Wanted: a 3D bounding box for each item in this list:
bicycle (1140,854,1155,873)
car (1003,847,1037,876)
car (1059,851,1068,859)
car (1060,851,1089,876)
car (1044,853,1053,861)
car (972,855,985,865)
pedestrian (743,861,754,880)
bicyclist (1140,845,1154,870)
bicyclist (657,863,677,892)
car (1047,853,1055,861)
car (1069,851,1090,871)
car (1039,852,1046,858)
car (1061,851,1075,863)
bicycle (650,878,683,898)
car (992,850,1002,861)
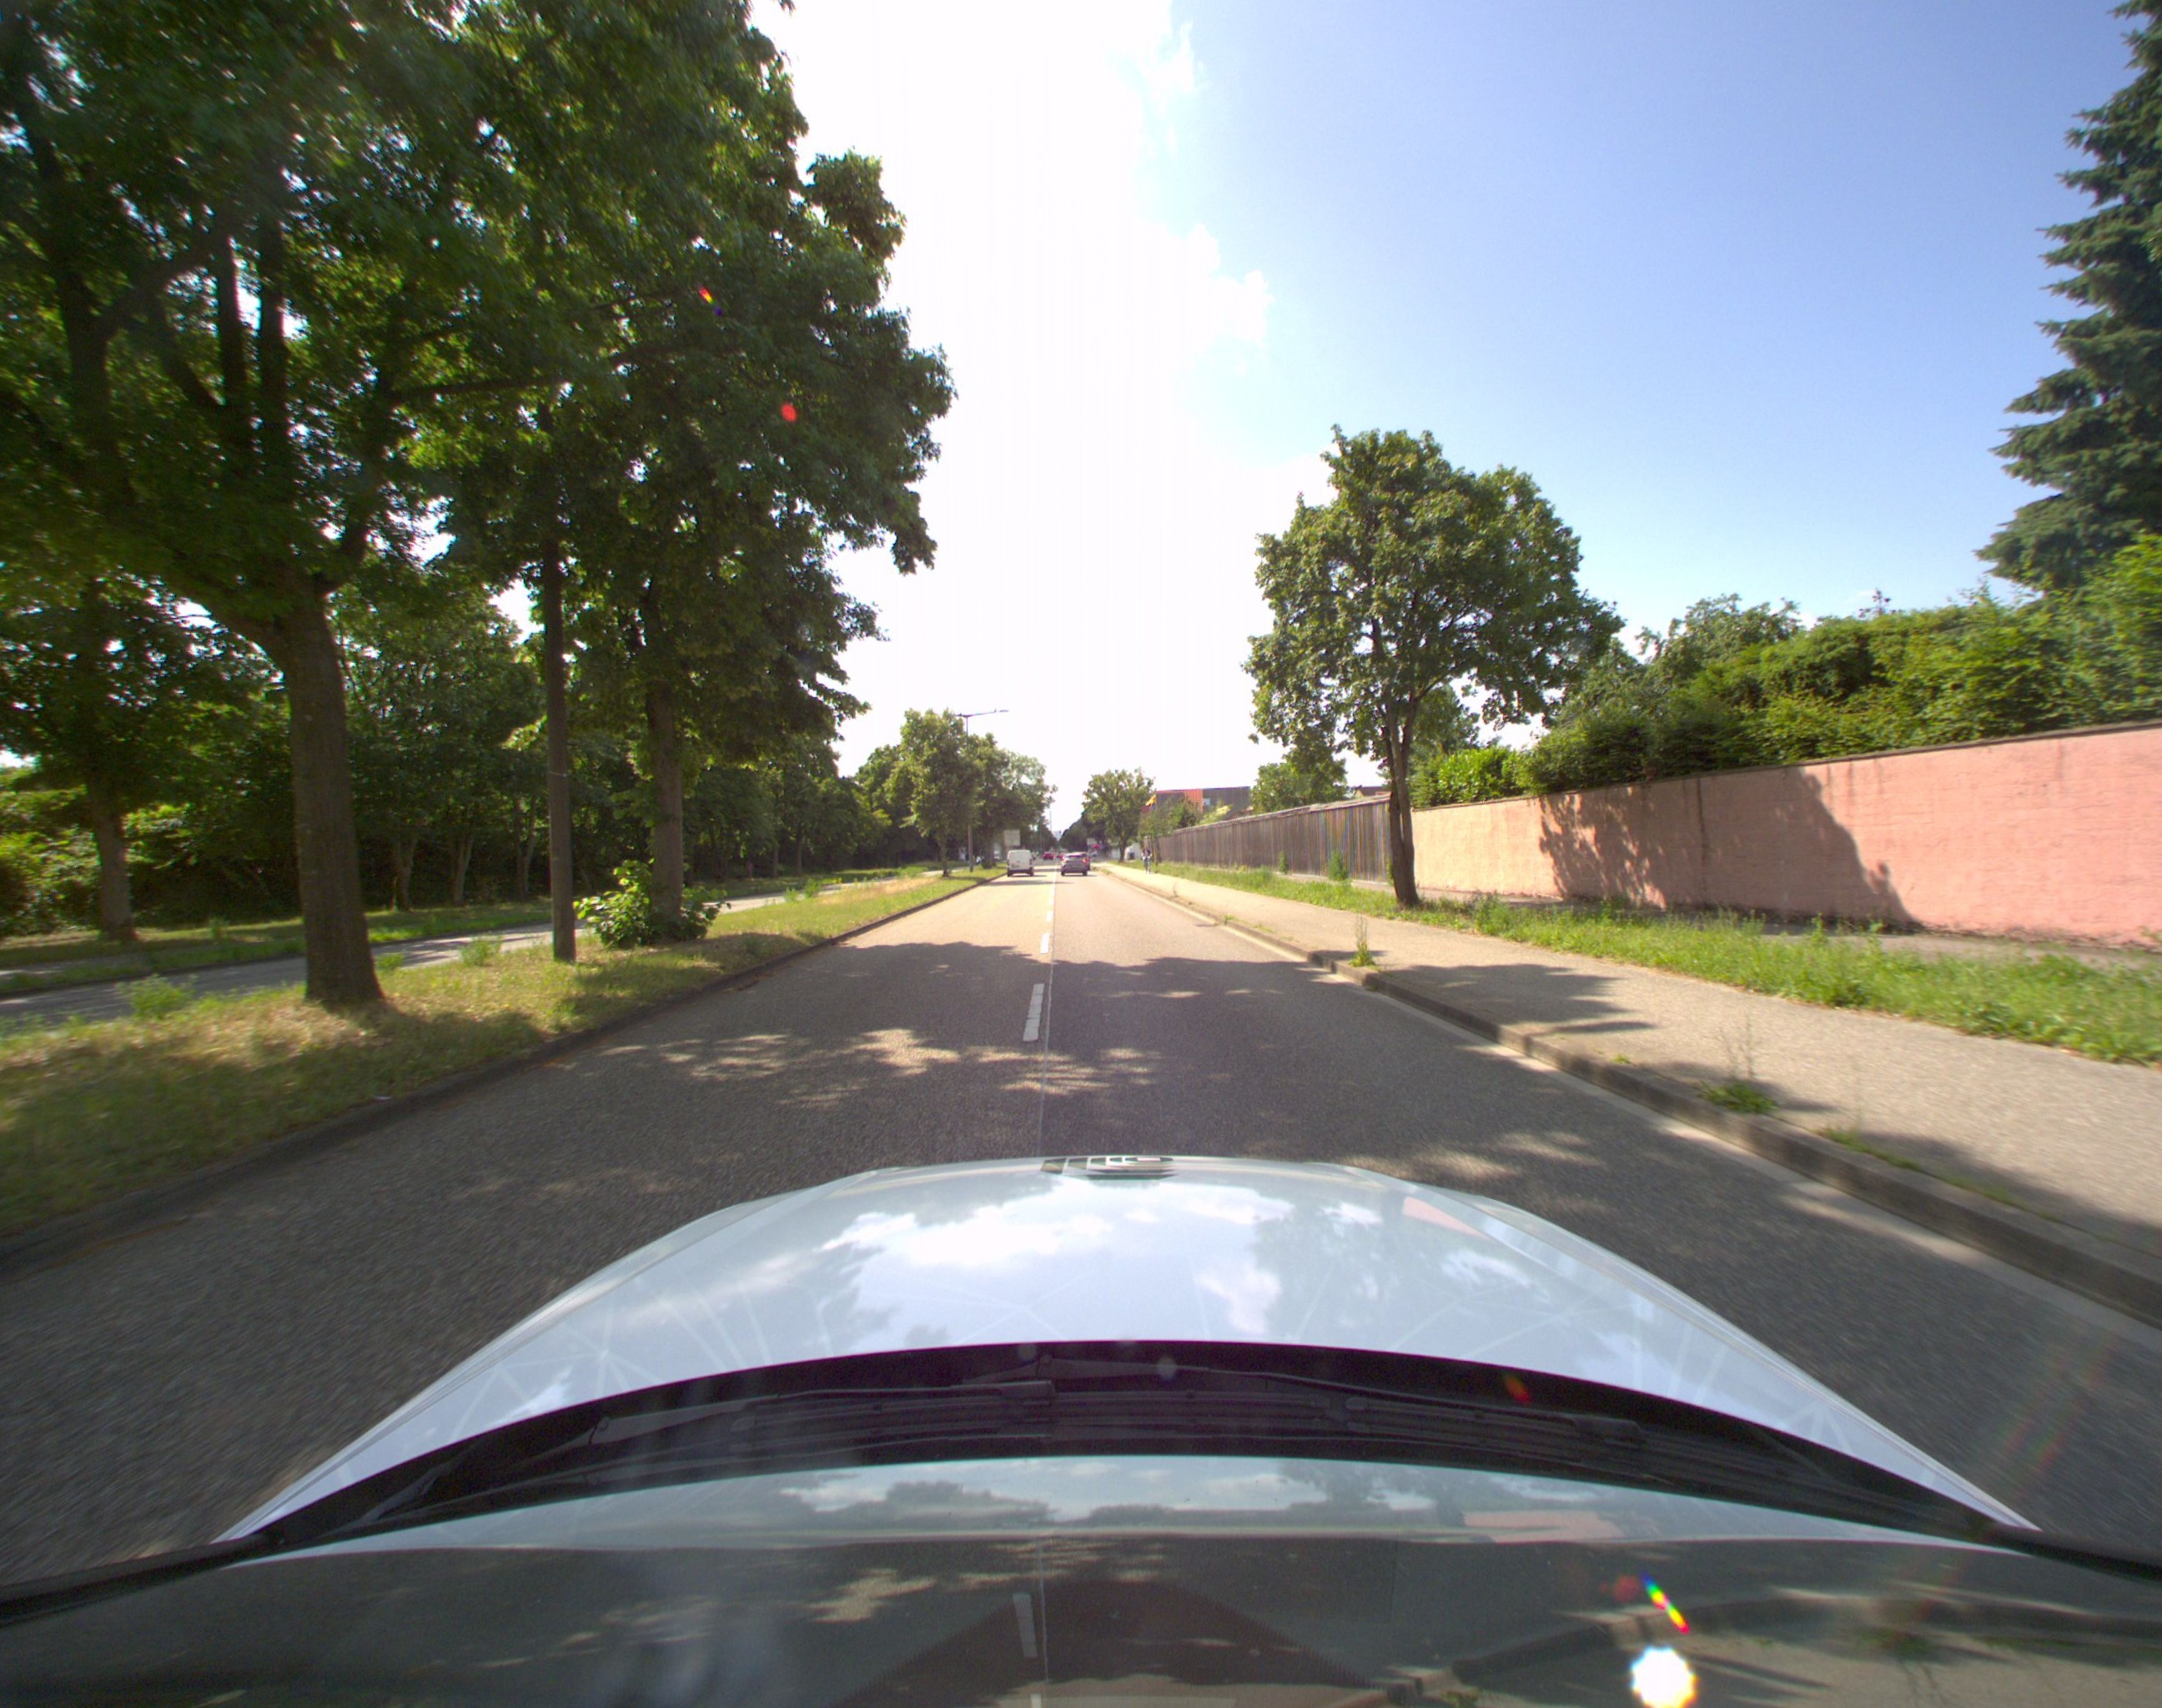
[{"bbox_3d":[3.975,0.571,48.933,0.644,1.067,2.277,-5,0,-1],"label":"bicycle"},{"bbox_3d":[-4.262,0.516,57.464,2.060,1.912,4.643,-2,0,-2],"label":"car"},{"bbox_3d":[-4.022,0.139,184.643,1.988,1.772,4.144,-1,0,-2],"label":"car"},{"bbox_3d":[-0.467,0.639,56.527,1.870,1.589,4.182,-2,0,-1],"label":"car"},{"bbox_3d":[-7.272,0.718,183.136,1.936,1.767,4.144,-2,0,-1],"label":"car"},{"bbox_3d":[-19.126,1.140,151.805,1.988,1.705,4.191,-2,0,-1],"label":"car"},{"bbox_3d":[-28.242,1.413,69.146,0.642,1.630,0.656,-1,0,-1],"label":"pedestrian"},{"bbox_3d":[3.948,0.198,48.916,0.652,1.412,0.986,-5,0,-1],"label":"bicyclist"},{"bbox_3d":[-21.172,1.209,41.653,0.616,1.448,0.729,-2,0,1],"label":"bicyclist"},{"bbox_3d":[-7.115,0.666,193.704,1.774,1.767,4.166,-2,0,-1],"label":"car"},{"bbox_3d":[-0.150,0.599,72.079,1.774,1.643,4.194,-2,0,-1],"label":"car"},{"bbox_3d":[-11.115,0.231,236.249,1.774,1.767,4.148,-2,0,-1],"label":"car"},{"bbox_3d":[-1.907,0.447,115.537,1.875,1.587,3.998,-2,0,-2],"label":"car"},{"bbox_3d":[-21.155,1.729,41.620,0.616,0.878,1.915,-2,0,1],"label":"bicycle"},{"bbox_3d":[-20.111,0.404,195.432,2.040,2.431,5.247,-2,0,-1],"label":"car"}]
